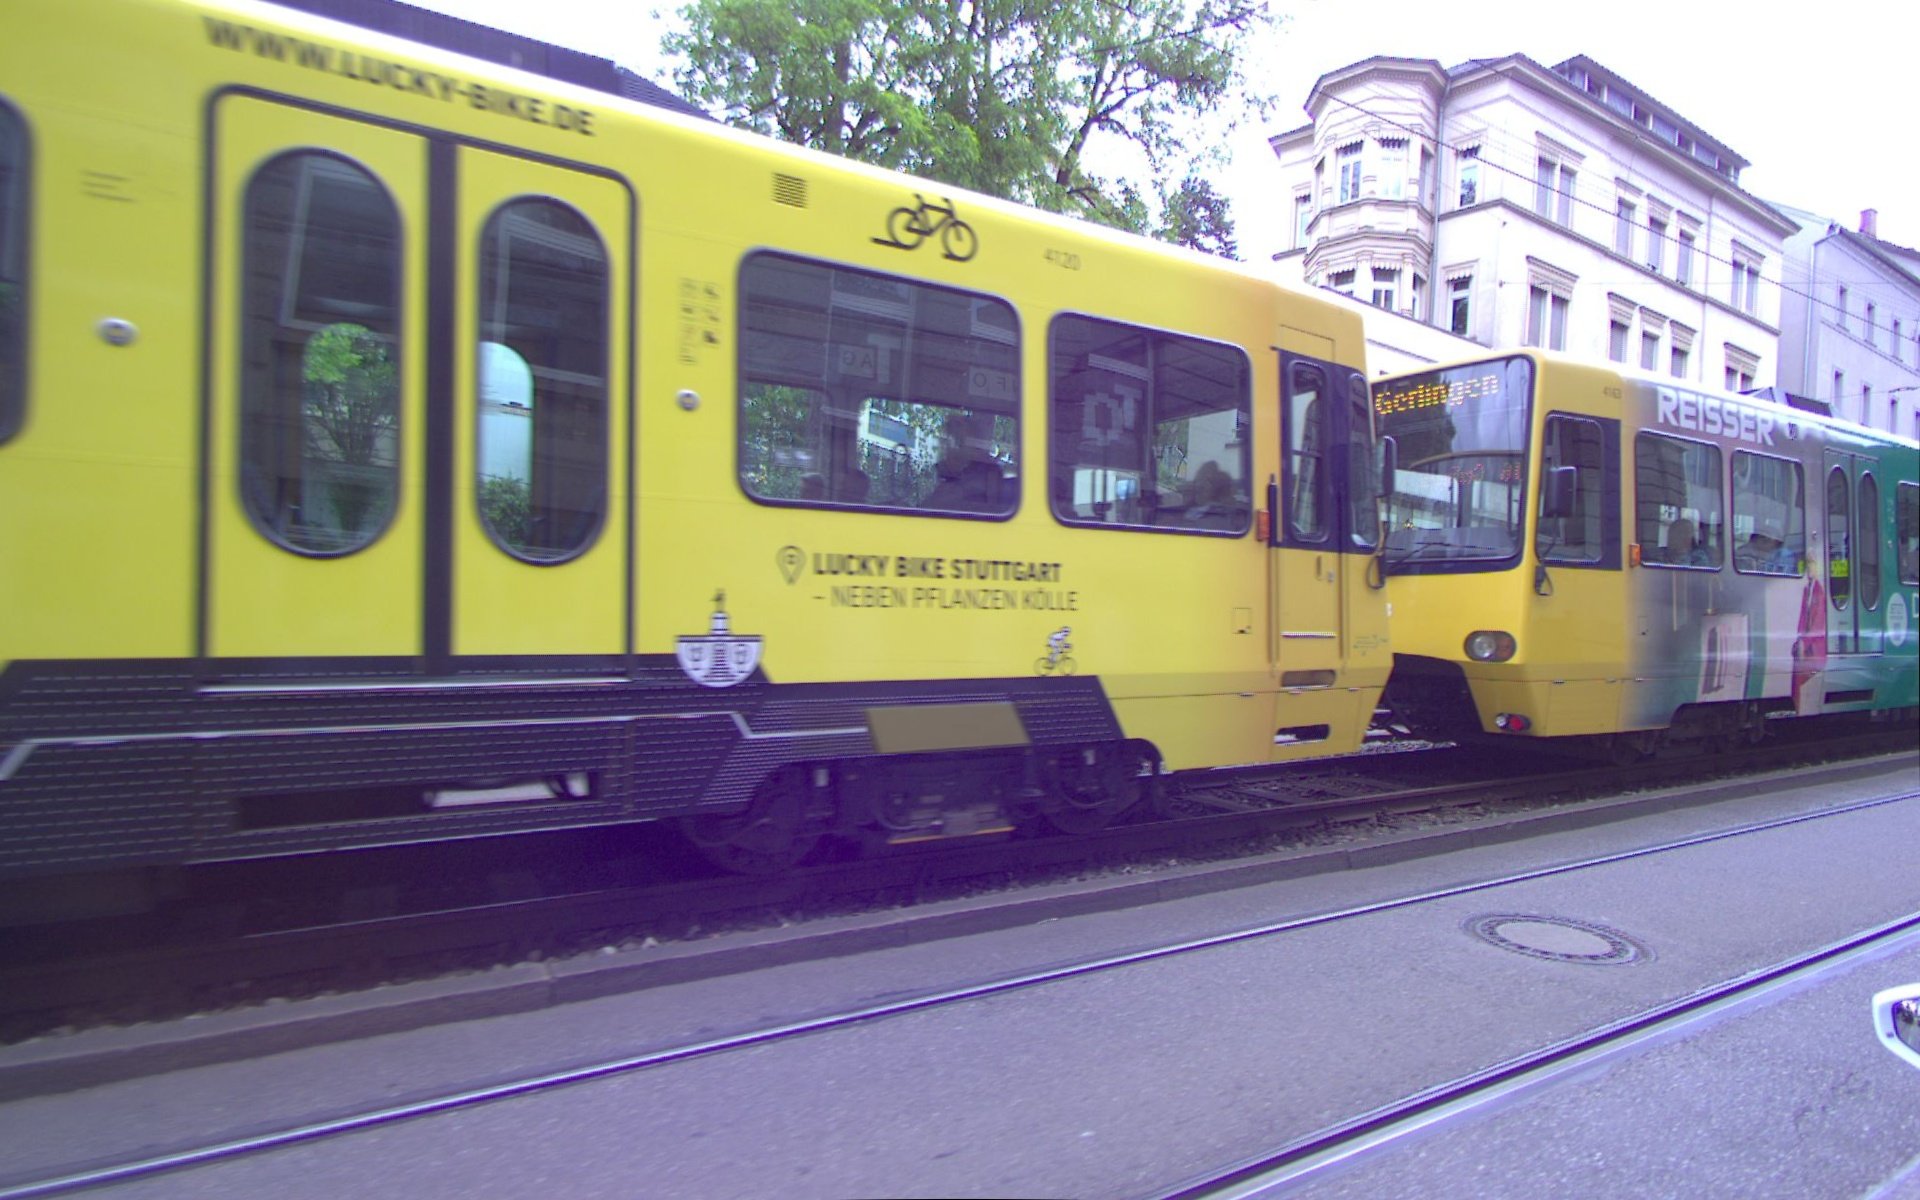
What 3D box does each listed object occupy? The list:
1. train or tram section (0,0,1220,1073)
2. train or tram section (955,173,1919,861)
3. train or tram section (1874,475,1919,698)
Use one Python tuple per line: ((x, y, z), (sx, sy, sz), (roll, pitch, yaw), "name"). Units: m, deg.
((-7.290, -0.576, 1.968), (18.485, 3.776, 2.862), (1, 1, -31), "train or tram section")
((8.689, -0.344, 11.476), (18.536, 3.776, 2.862), (1, 1, -31), "train or tram section")
((24.669, -0.066, 20.943), (18.536, 3.776, 2.862), (1, 1, -31), "train or tram section")
